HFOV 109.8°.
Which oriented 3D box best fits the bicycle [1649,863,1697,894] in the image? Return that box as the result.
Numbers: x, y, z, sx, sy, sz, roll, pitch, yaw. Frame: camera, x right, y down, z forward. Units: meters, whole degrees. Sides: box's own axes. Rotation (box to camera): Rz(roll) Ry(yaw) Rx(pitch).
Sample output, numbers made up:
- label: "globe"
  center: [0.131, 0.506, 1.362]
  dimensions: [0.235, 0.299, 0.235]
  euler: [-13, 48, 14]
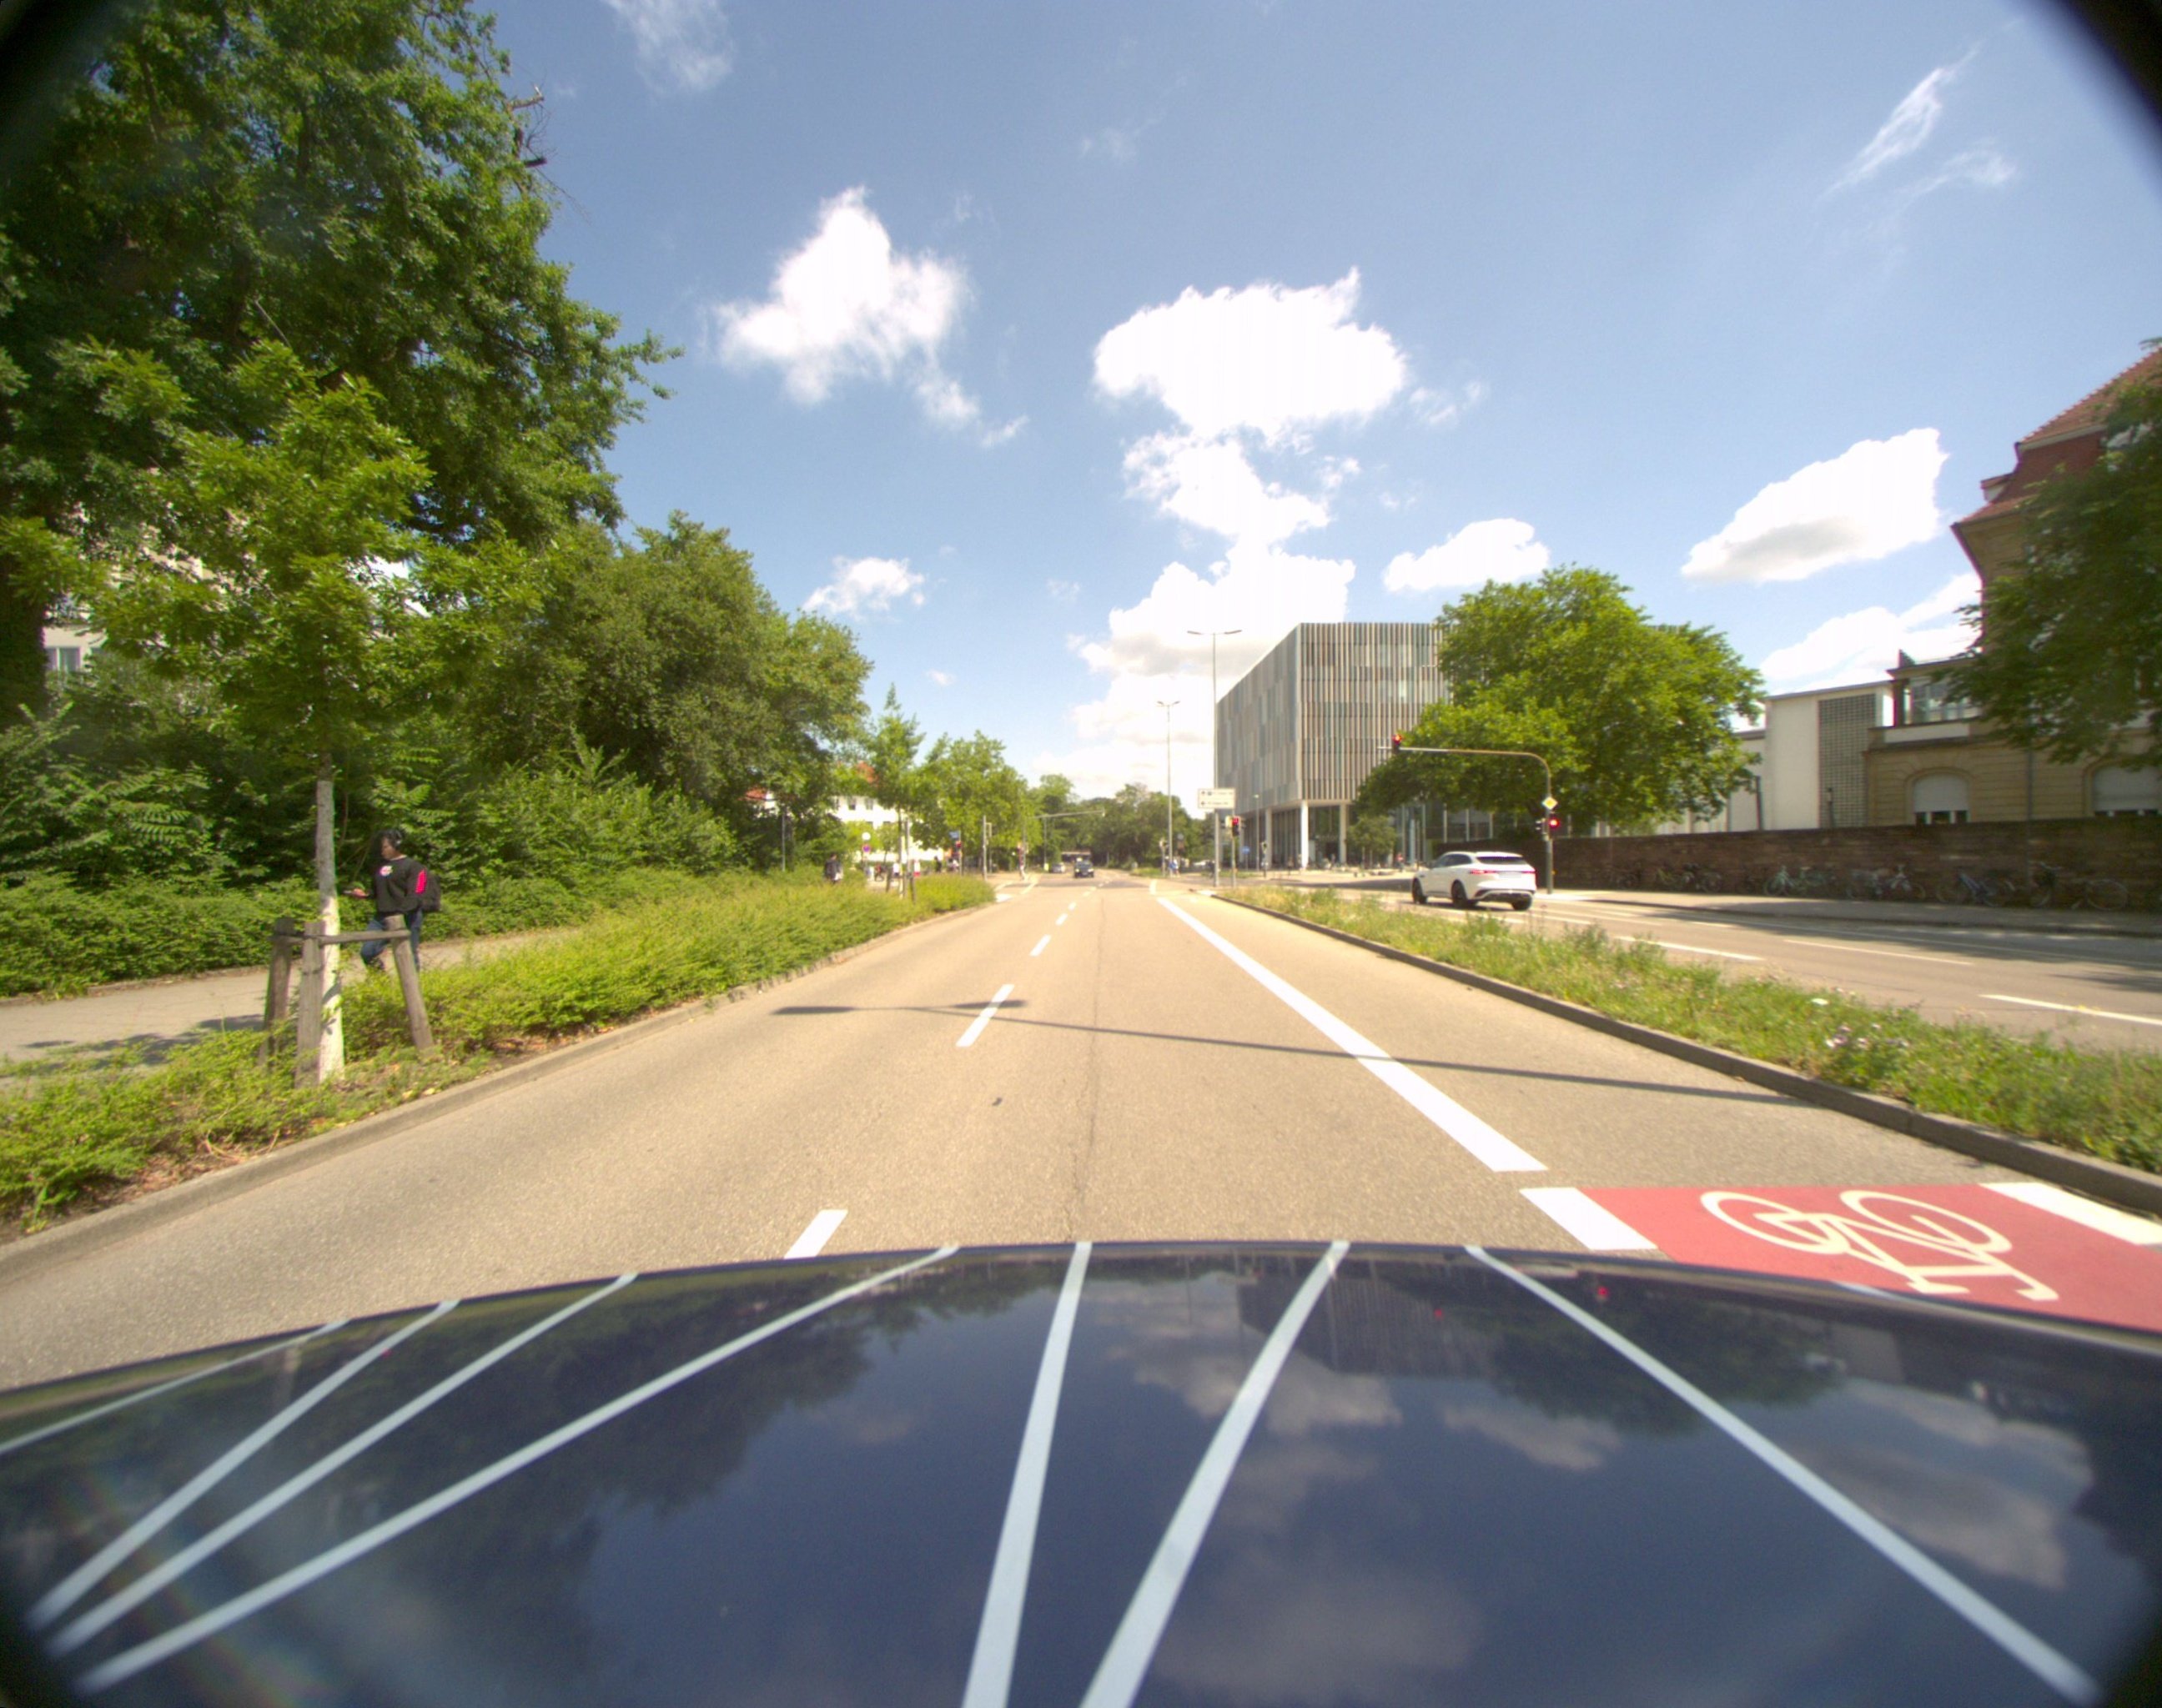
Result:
- label: "bicycle"
  center: [22.842, 0.924, 29.353]
  dimensions: [0.500, 1.145, 1.593]
  euler: [-1, 0, -7]

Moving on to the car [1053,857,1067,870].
- label: "car"
  center: [-2.996, 1.332, 106.676]
  dimensions: [1.913, 1.772, 3.999]
  euler: [-1, 0, -3]

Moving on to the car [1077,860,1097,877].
- label: "car"
  center: [0.539, 1.372, 74.402]
  dimensions: [1.846, 1.593, 4.000]
  euler: [-1, 0, -1]

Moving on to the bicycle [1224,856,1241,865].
- label: "bicycle"
  center: [24.345, 0.999, 122.030]
  dimensions: [2.511, 1.486, 0.621]
  euler: [-1, 0, 1]

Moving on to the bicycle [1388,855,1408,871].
- label: "bicycle"
  center: [32.560, 0.920, 78.037]
  dimensions: [0.997, 1.543, 3.422]
  euler: [0, 0, 38]

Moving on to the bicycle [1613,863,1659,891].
- label: "bicycle"
  center: [22.678, 0.931, 31.061]
  dimensions: [0.573, 1.092, 1.593]
  euler: [-1, 0, -7]

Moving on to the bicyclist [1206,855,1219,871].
- label: "bicyclist"
  center: [10.092, 0.658, 58.171]
  dimensions: [0.617, 1.219, 0.835]
  euler: [0, 0, 40]

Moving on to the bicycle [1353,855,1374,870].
- label: "bicycle"
  center: [30.092, 0.912, 80.907]
  dimensions: [1.049, 1.543, 3.422]
  euler: [0, 0, 38]

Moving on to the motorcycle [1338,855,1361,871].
- label: "motorcycle"
  center: [28.984, 0.941, 81.885]
  dimensions: [3.305, 1.630, 0.969]
  euler: [0, 0, -44]

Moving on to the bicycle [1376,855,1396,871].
- label: "bicycle"
  center: [31.745, 0.916, 78.970]
  dimensions: [0.997, 1.543, 3.422]
  euler: [0, 0, 38]

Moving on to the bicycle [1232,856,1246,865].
- label: "bicycle"
  center: [24.630, 1.032, 118.350]
  dimensions: [2.071, 1.486, 0.621]
  euler: [-1, 0, 1]

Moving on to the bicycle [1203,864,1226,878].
- label: "bicycle"
  center: [10.248, 1.293, 58.331]
  dimensions: [0.645, 0.992, 2.168]
  euler: [0, 0, 41]

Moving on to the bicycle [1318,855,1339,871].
- label: "bicycle"
  center: [27.271, 0.965, 83.589]
  dimensions: [0.808, 1.634, 3.422]
  euler: [0, 0, 42]

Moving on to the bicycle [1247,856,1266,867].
- label: "bicycle"
  center: [25.356, 1.106, 109.807]
  dimensions: [2.511, 1.486, 0.621]
  euler: [-1, 0, 1]

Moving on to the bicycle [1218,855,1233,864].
- label: "bicycle"
  center: [24.300, 0.947, 127.712]
  dimensions: [2.302, 1.486, 0.657]
  euler: [-1, 0, 1]

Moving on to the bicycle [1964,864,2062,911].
- label: "bicycle"
  center: [23.937, 0.824, 19.547]
  dimensions: [0.403, 1.145, 1.593]
  euler: [-1, 0, -10]

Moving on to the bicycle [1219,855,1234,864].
- label: "bicycle"
  center: [24.074, 0.968, 125.728]
  dimensions: [2.511, 1.486, 0.621]
  euler: [-1, 0, 1]

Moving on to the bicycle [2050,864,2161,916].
- label: "bicycle"
  center: [23.933, 0.819, 17.704]
  dimensions: [0.534, 1.145, 1.591]
  euler: [-1, 0, -21]

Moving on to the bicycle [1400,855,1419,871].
- label: "bicycle"
  center: [33.220, 0.924, 76.844]
  dimensions: [0.997, 1.543, 3.422]
  euler: [0, 0, 38]

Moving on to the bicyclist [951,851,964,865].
- label: "bicyclist"
  center: [-12.398, 0.401, 76.264]
  dimensions: [1.076, 1.436, 0.972]
  euler: [-1, 0, -2]

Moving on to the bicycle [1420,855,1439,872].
- label: "bicycle"
  center: [34.566, 0.928, 75.310]
  dimensions: [0.997, 1.543, 3.422]
  euler: [0, 0, 38]

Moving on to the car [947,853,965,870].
- label: "car"
  center: [-15.072, 0.874, 91.656]
  dimensions: [2.000, 2.042, 4.226]
  euler: [-1, 0, -7]

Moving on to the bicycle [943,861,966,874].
- label: "bicycle"
  center: [-12.732, 1.358, 76.252]
  dimensions: [2.164, 1.244, 0.885]
  euler: [-1, 0, -3]

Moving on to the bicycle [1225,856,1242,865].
- label: "bicycle"
  center: [24.241, 1.011, 120.918]
  dimensions: [2.511, 1.486, 0.621]
  euler: [-1, 0, 1]

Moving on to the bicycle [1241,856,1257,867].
- label: "bicycle"
  center: [24.788, 1.090, 112.011]
  dimensions: [2.200, 1.486, 0.621]
  euler: [-1, 0, 1]

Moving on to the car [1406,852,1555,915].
- label: "car"
  center: [11.648, 0.803, 22.625]
  dimensions: [2.076, 1.657, 4.776]
  euler: [-1, 0, 2]

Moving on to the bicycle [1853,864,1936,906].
- label: "bicycle"
  center: [23.500, 0.877, 21.971]
  dimensions: [0.403, 1.145, 1.590]
  euler: [-1, 0, -32]

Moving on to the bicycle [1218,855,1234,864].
- label: "bicycle"
  center: [24.190, 0.959, 126.427]
  dimensions: [2.511, 1.486, 0.621]
  euler: [-1, 0, 1]

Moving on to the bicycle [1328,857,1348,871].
- label: "bicycle"
  center: [28.030, 1.048, 82.848]
  dimensions: [2.693, 1.485, 0.930]
  euler: [-1, 0, -44]

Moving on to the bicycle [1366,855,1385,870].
- label: "bicycle"
  center: [30.978, 0.915, 79.859]
  dimensions: [0.997, 1.543, 3.422]
  euler: [0, 0, 38]
